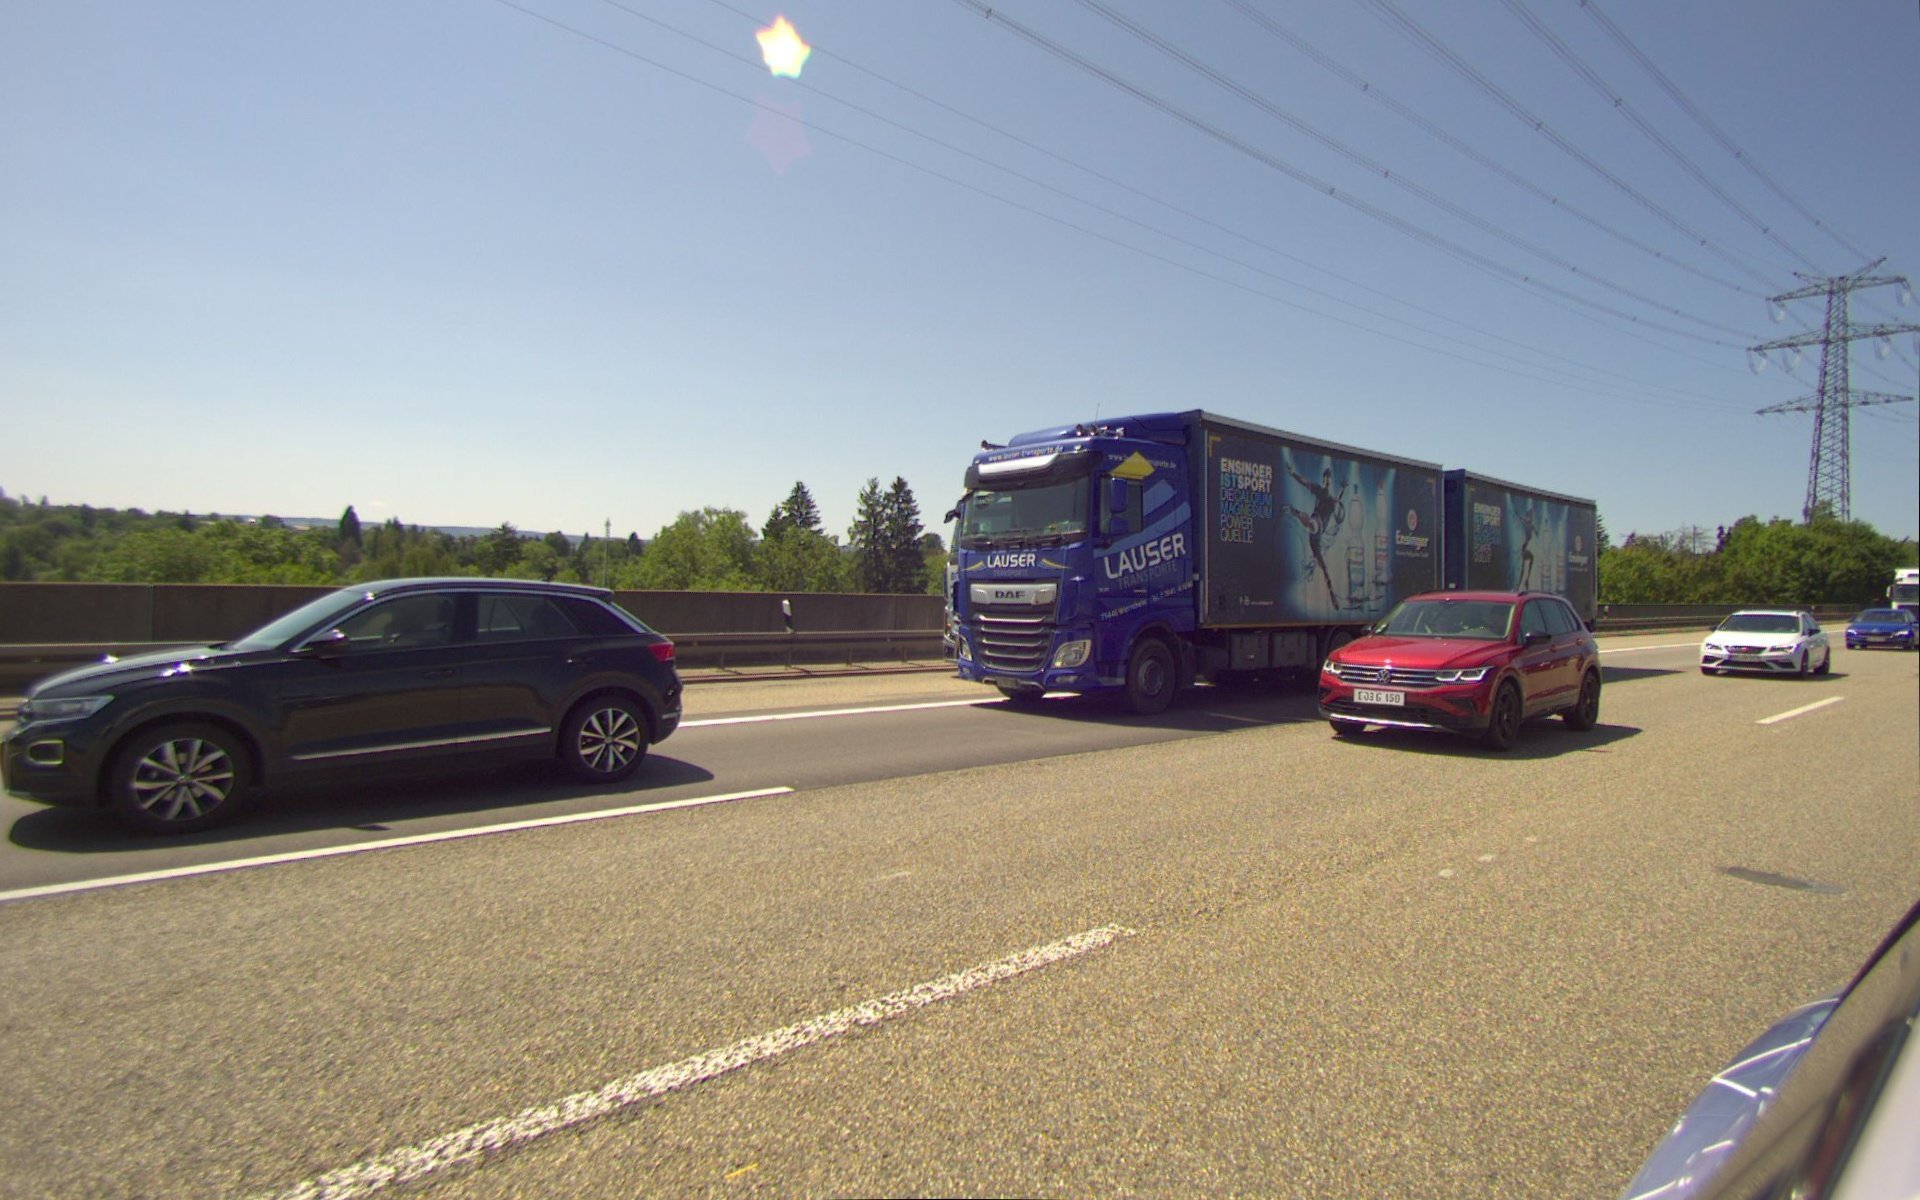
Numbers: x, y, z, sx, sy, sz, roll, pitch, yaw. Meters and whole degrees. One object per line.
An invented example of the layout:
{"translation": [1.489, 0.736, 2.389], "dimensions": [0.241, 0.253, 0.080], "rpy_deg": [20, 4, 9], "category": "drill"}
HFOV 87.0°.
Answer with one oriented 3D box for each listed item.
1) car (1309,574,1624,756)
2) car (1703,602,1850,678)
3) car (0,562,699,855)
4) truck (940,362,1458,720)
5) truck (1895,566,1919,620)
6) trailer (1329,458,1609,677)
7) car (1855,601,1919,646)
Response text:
{"translation": [5.840, 0.598, 11.442], "dimensions": [4.151, 1.683, 1.778], "rpy_deg": [0, 0, -42], "category": "car"}
{"translation": [17.894, 0.800, 22.124], "dimensions": [4.001, 1.508, 1.841], "rpy_deg": [0, 0, -41], "category": "car"}
{"translation": [-4.134, 0.572, 7.298], "dimensions": [4.034, 1.546, 1.739], "rpy_deg": [0, 0, -41], "category": "car"}
{"translation": [4.406, -0.703, 16.017], "dimensions": [10.265, 4.118, 2.527], "rpy_deg": [0, 0, -41], "category": "truck"}
{"translation": [68.260, -0.445, 70.851], "dimensions": [10.777, 3.604, 2.982], "rpy_deg": [0, 0, -41], "category": "truck"}
{"translation": [11.413, -0.588, 22.193], "dimensions": [8.331, 3.995, 2.570], "rpy_deg": [1, 0, -41], "category": "trailer"}
{"translation": [33.435, 0.806, 36.049], "dimensions": [4.135, 1.463, 1.739], "rpy_deg": [0, 0, -40], "category": "car"}
